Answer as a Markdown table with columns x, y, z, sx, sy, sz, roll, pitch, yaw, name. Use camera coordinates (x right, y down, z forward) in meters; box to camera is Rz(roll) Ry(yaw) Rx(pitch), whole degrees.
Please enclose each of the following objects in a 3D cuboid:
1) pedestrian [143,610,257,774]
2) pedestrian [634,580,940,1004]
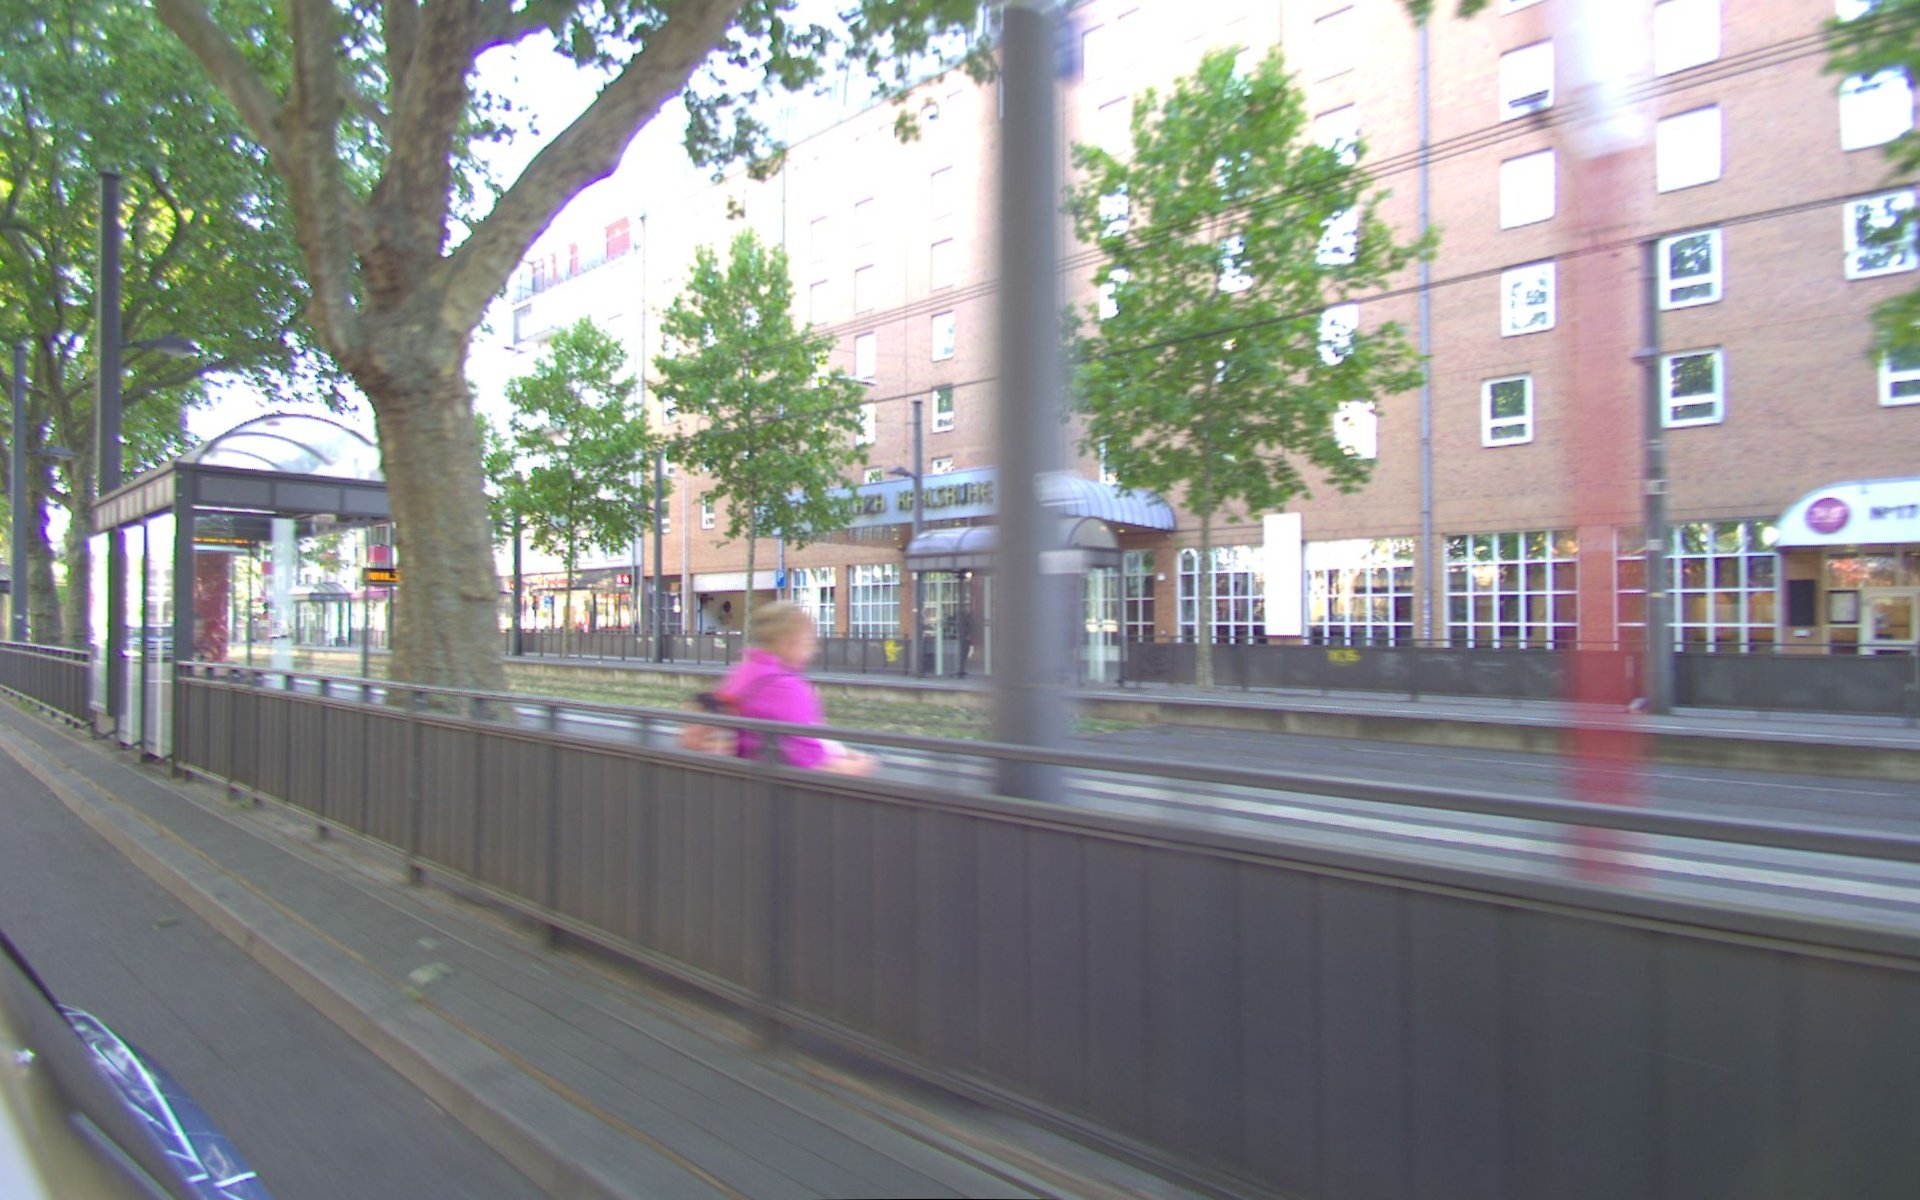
| x | y | z | sx | sy | sz | roll | pitch | yaw | name |
| --- | --- | --- | --- | --- | --- | --- | --- | --- | --- |
| -6.886 | 0.798 | 9.176 | 0.640 | 1.398 | 0.726 | -1 | 0 | 44 | pedestrian |
| -0.658 | 0.637 | 3.953 | 0.664 | 1.410 | 0.966 | -1 | 0 | 44 | pedestrian |
